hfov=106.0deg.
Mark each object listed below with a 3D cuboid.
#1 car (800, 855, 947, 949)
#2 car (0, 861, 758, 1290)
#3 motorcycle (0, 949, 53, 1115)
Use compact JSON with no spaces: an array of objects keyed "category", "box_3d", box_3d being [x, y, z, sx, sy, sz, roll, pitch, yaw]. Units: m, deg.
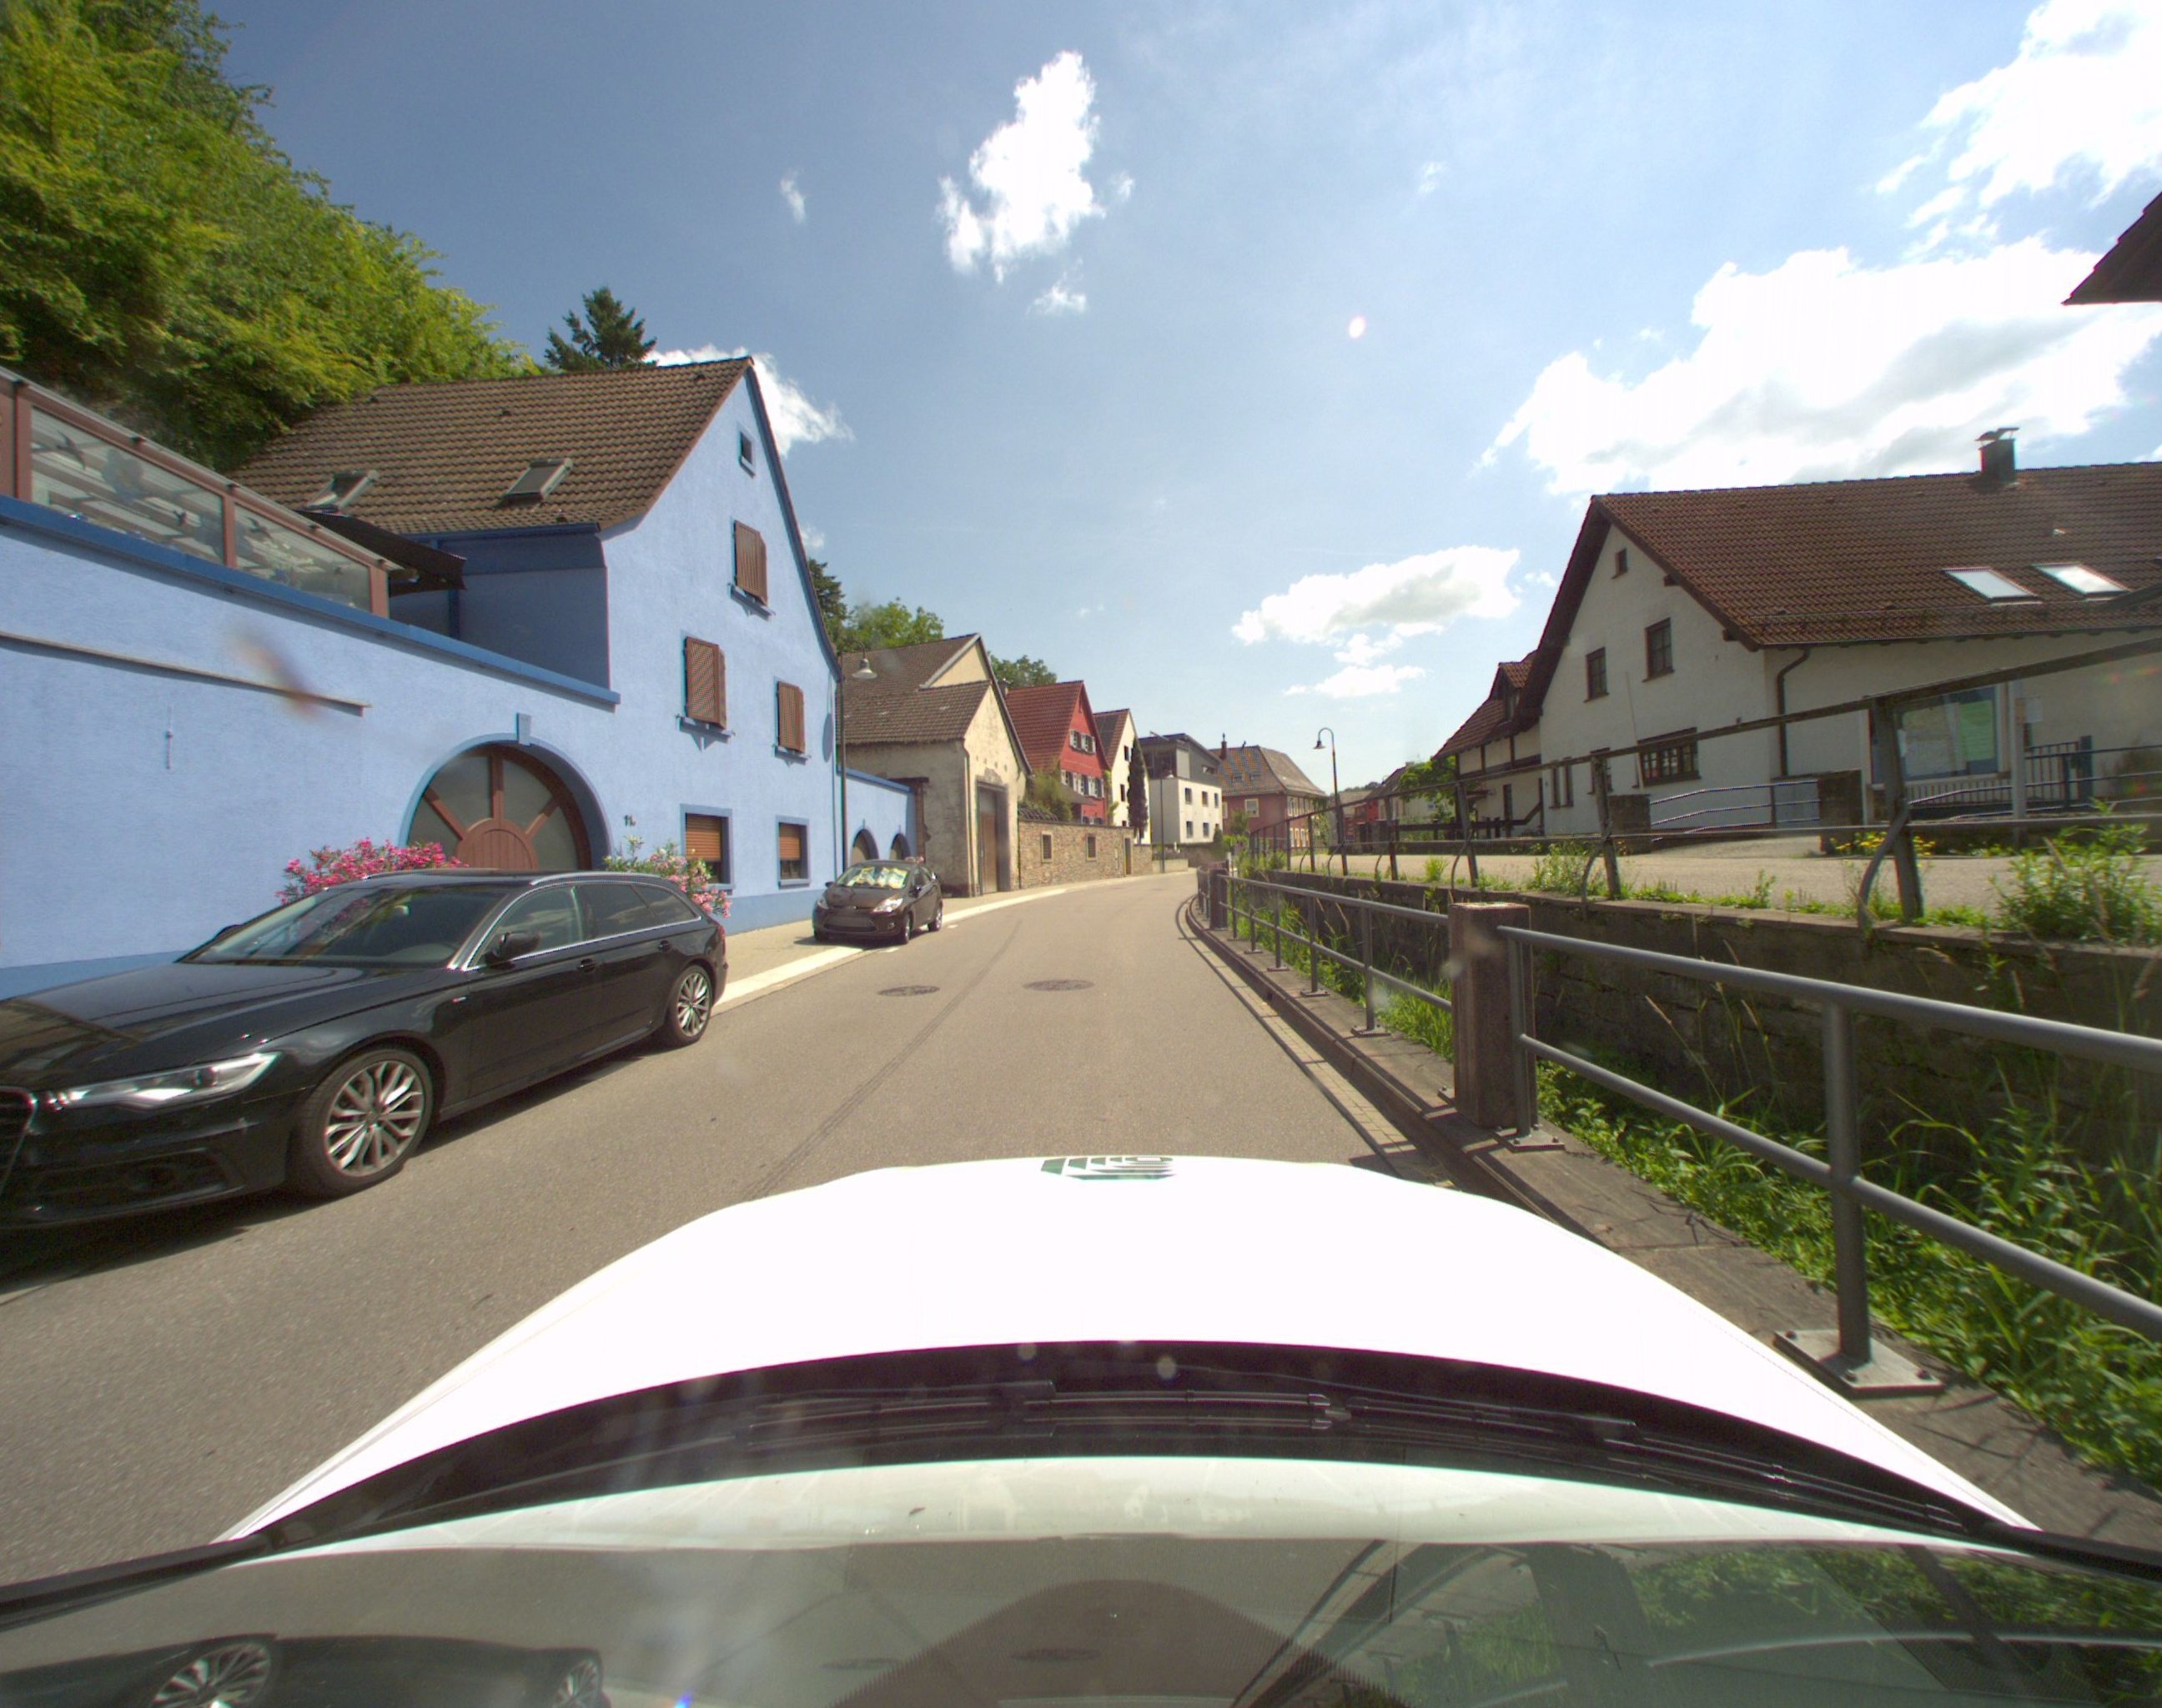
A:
[{"category":"car","box_3d":[-3.806,0.812,15.644,1.711,1.530,3.857,1,0,1]},{"category":"car","box_3d":[-4.132,0.835,5.367,1.877,1.464,4.673,1,1,3]},{"category":"motorcycle","box_3d":[-6.933,1.110,4.362,0.416,1.001,1.858,2,-1,1]}]
